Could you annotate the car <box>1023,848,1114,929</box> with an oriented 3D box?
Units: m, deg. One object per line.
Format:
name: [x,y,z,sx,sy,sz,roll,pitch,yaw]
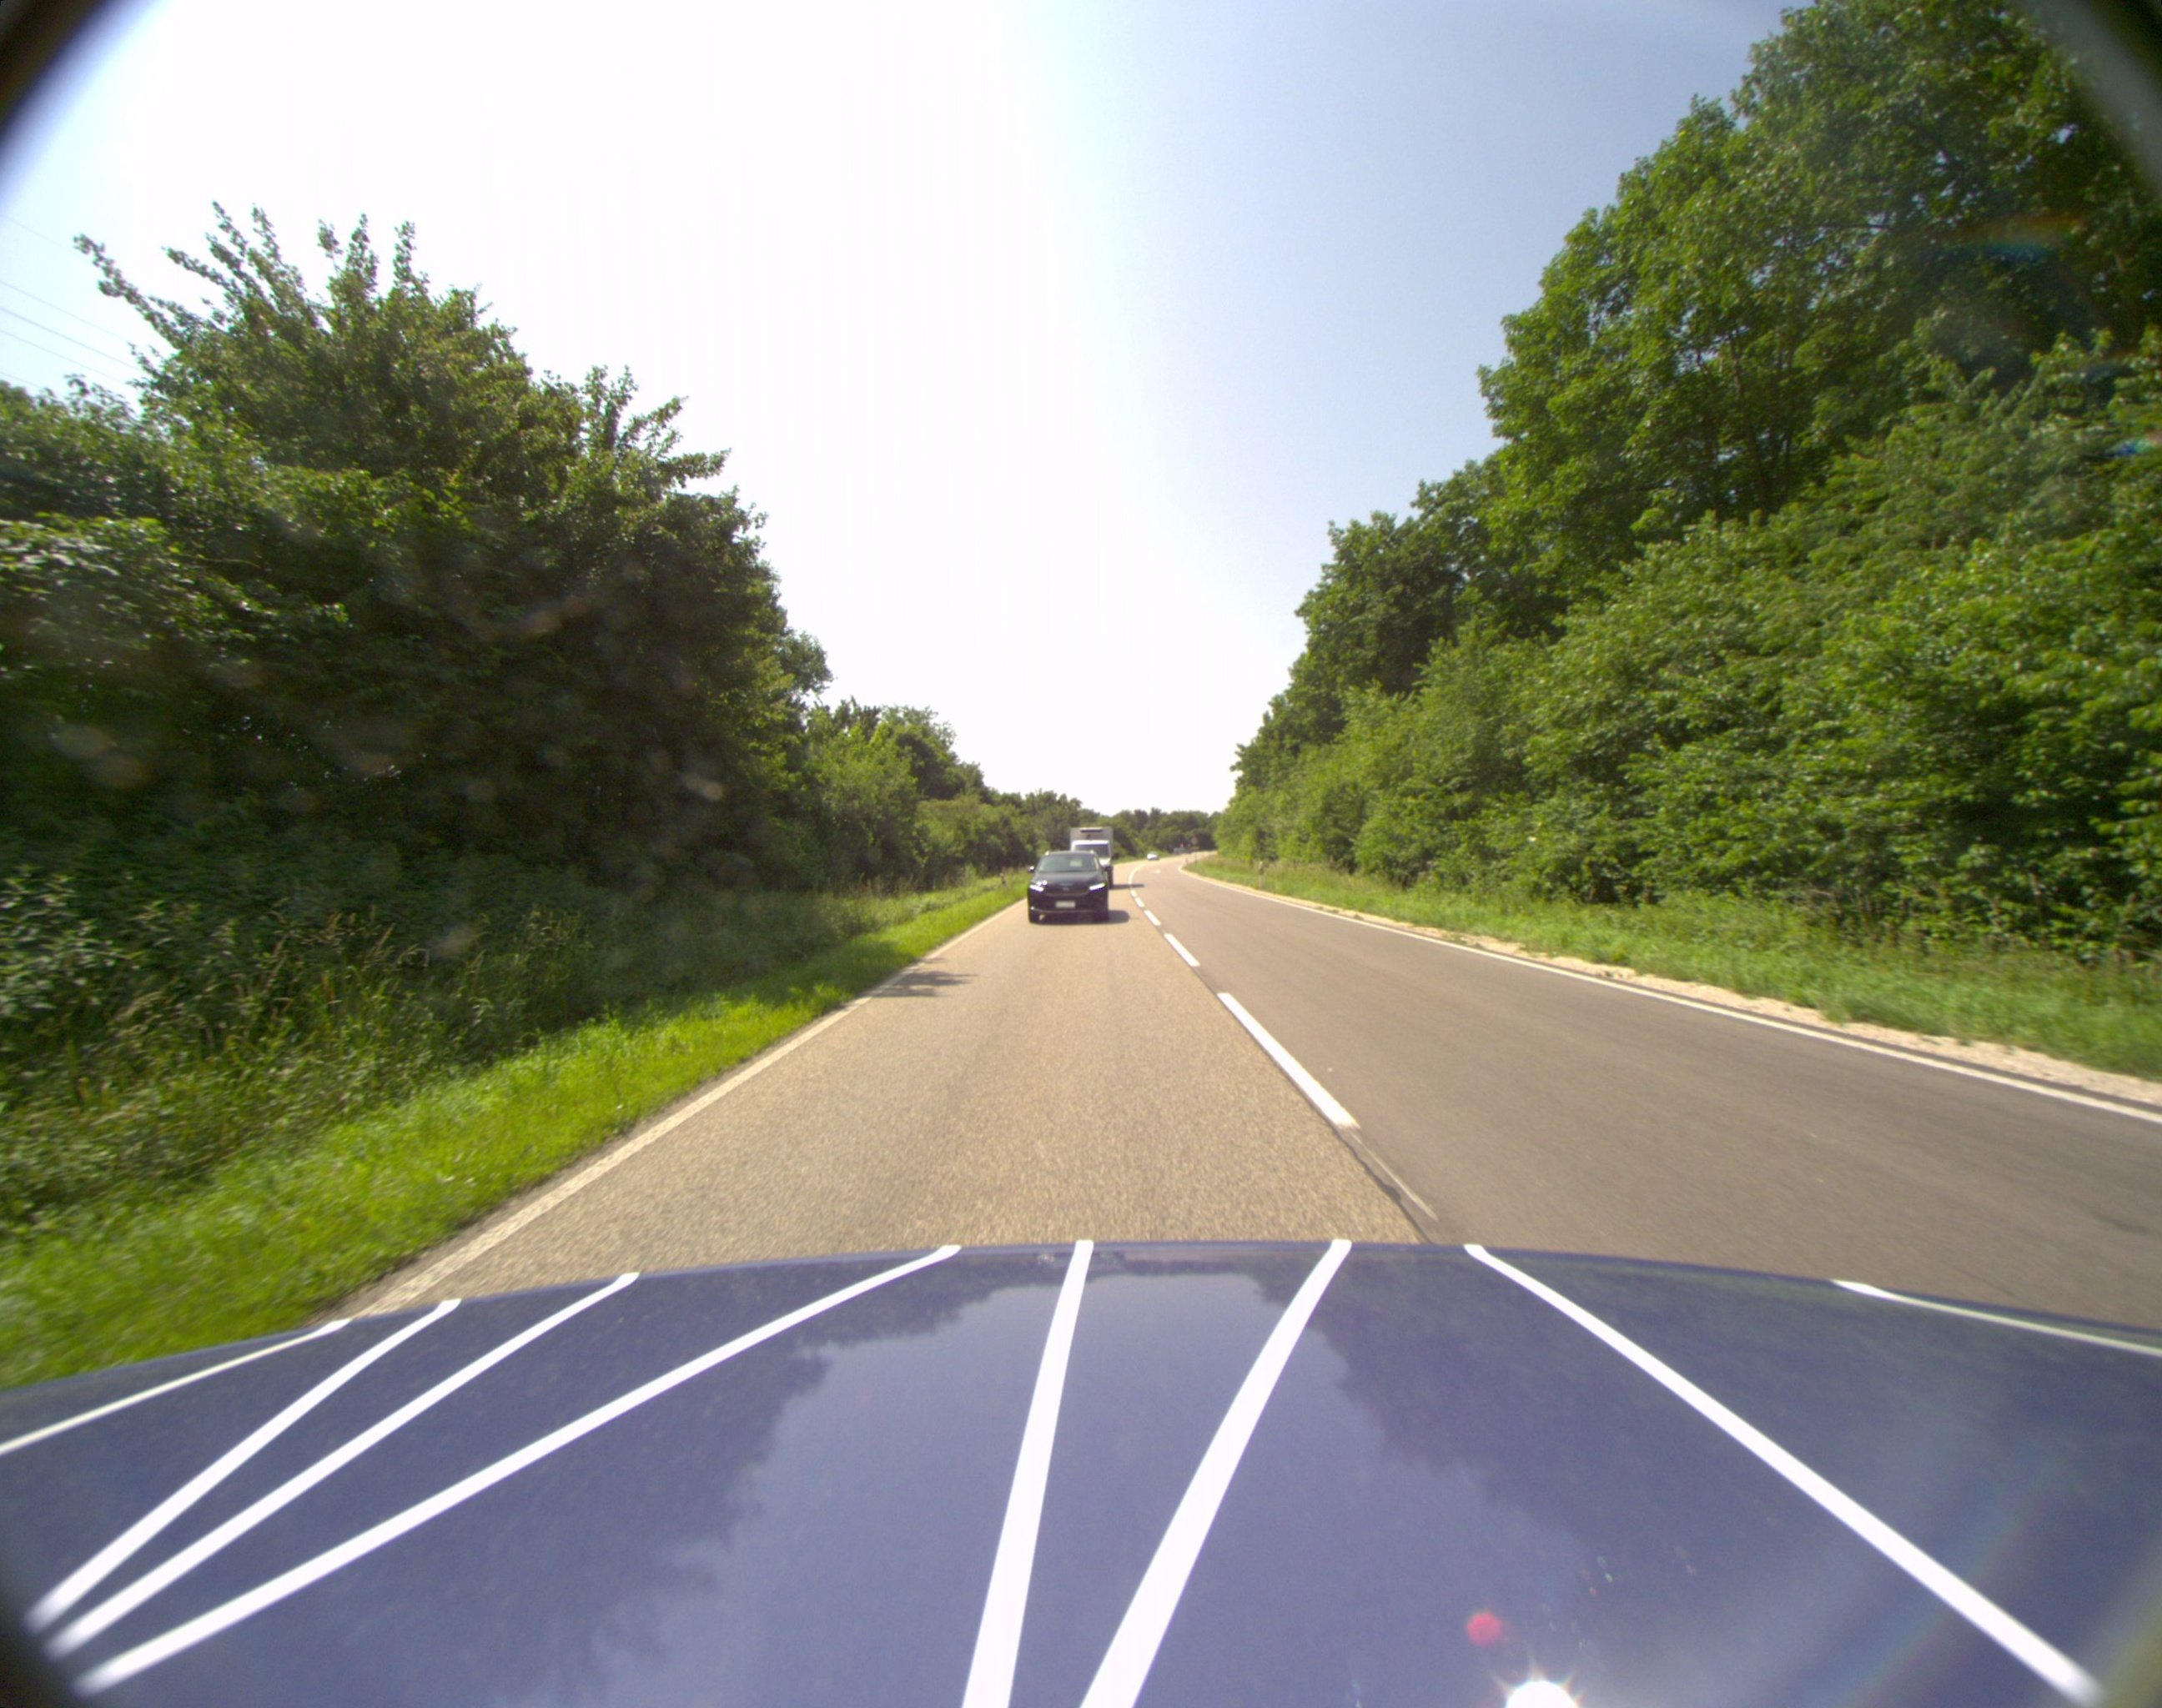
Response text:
car: [-0.258,0.747,19.606,1.924,1.711,5.478,-3,1,0]

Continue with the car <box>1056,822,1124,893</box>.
car: [0.578,0.052,36.923,2.590,3.047,6.882,-2,2,6]

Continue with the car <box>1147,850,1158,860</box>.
car: [13.153,0.196,140.354,1.808,1.797,4.002,-2,0,8]

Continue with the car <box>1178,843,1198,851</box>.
car: [30.470,-1.874,216.828,5.226,1.896,2.013,-4,2,1]
